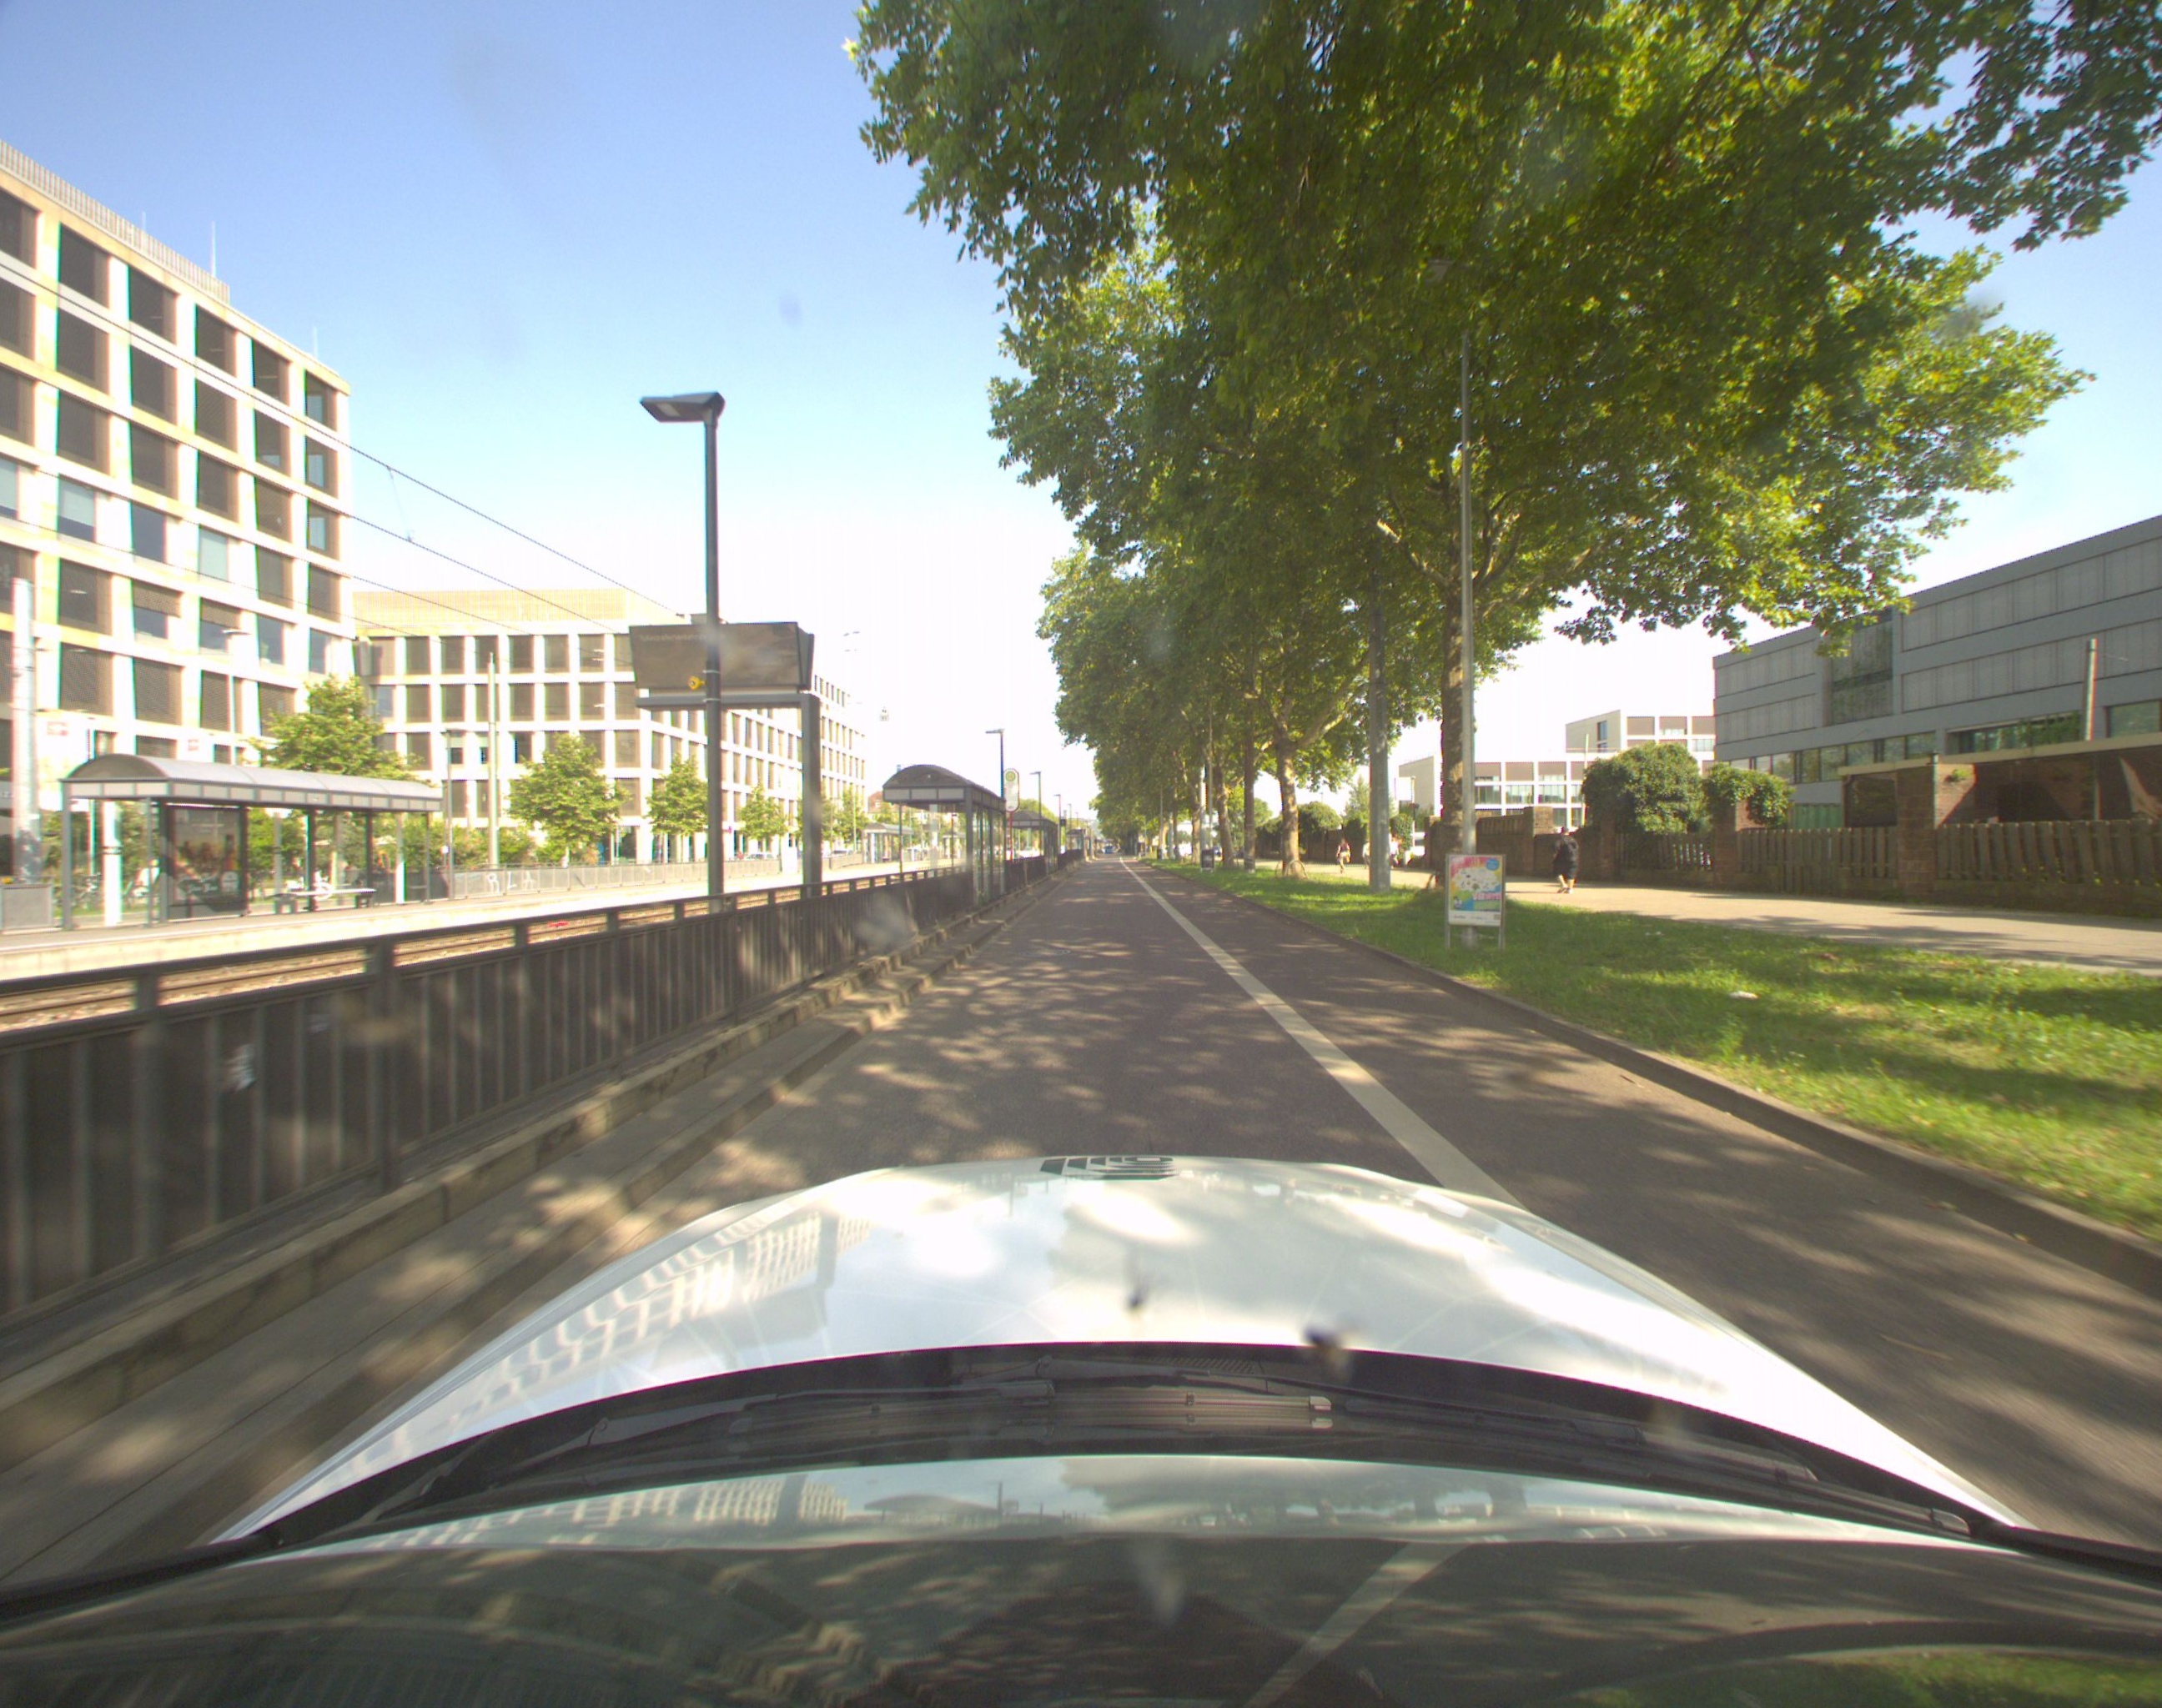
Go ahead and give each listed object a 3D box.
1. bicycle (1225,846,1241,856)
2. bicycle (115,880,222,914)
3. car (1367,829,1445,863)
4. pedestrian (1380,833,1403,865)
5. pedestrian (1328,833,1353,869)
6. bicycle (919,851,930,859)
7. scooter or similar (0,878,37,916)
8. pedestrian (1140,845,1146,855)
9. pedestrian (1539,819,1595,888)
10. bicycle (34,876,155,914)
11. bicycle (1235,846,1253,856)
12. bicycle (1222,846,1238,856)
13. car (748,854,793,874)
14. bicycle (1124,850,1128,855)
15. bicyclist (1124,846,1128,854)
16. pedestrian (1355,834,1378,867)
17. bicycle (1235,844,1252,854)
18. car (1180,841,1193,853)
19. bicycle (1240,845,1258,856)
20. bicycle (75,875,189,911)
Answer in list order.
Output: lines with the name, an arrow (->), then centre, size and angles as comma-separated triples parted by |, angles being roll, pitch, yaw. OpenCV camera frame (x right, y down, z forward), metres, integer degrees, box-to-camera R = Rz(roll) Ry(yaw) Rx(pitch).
bicycle -> 15.533, -0.301, 83.277 | 0.509, 0.969, 1.642 | -3, 0, -40
bicycle -> -28.934, 1.365, 25.841 | 2.425, 0.986, 0.821 | -1, 0, 0
car -> 22.470, -0.528, 56.469 | 4.645, 2.318, 2.056 | 0, 0, 1
pedestrian -> 15.755, -0.246, 41.343 | 0.803, 1.604, 0.948 | -2, 0, 2
pedestrian -> 12.029, -0.128, 37.797 | 0.803, 1.636, 0.948 | -2, 0, 2
bicycle -> -14.750, 0.098, 76.738 | 0.474, 0.662, 1.616 | -1, 0, 6
scooter or similar -> -28.678, 1.141, 21.568 | 1.517, 0.986, 0.395 | -1, 0, 0
pedestrian -> 10.573, -0.719, 138.243 | 0.619, 1.617, 0.850 | -1, 0, 39
pedestrian -> 12.297, -0.013, 20.633 | 0.816, 1.686, 1.012 | -2, 0, 2
bicycle -> -28.284, 1.162, 23.383 | 2.425, 0.986, 0.821 | -1, 0, 0
bicycle -> 16.139, -0.307, 80.771 | 1.647, 0.969, 0.507 | -3, 0, 7
bicycle -> 15.477, -0.284, 84.494 | 0.509, 0.969, 1.642 | -3, 0, -40
car -> -23.291, 0.715, 61.303 | 1.636, 1.376, 4.224 | -1, 1, 2
bicycle -> 8.847, -0.306, 160.222 | 0.712, 1.107, 2.510 | 0, 0, 2
bicyclist -> 8.864, -0.799, 160.297 | 0.703, 1.461, 1.009 | 0, 0, 2
pedestrian -> 14.512, -0.183, 41.445 | 0.803, 1.604, 0.948 | -2, 0, 2
bicycle -> 17.056, -0.502, 85.400 | 1.649, 0.969, 0.507 | -3, 0, 4
car -> 17.398, -1.176, 134.995 | 1.715, 2.048, 4.464 | -1, 0, 2
bicycle -> 16.010, -0.352, 77.770 | 1.647, 0.969, 0.507 | -3, 0, 7
bicycle -> -28.606, 1.179, 24.572 | 2.425, 0.986, 0.821 | -1, 0, 0
